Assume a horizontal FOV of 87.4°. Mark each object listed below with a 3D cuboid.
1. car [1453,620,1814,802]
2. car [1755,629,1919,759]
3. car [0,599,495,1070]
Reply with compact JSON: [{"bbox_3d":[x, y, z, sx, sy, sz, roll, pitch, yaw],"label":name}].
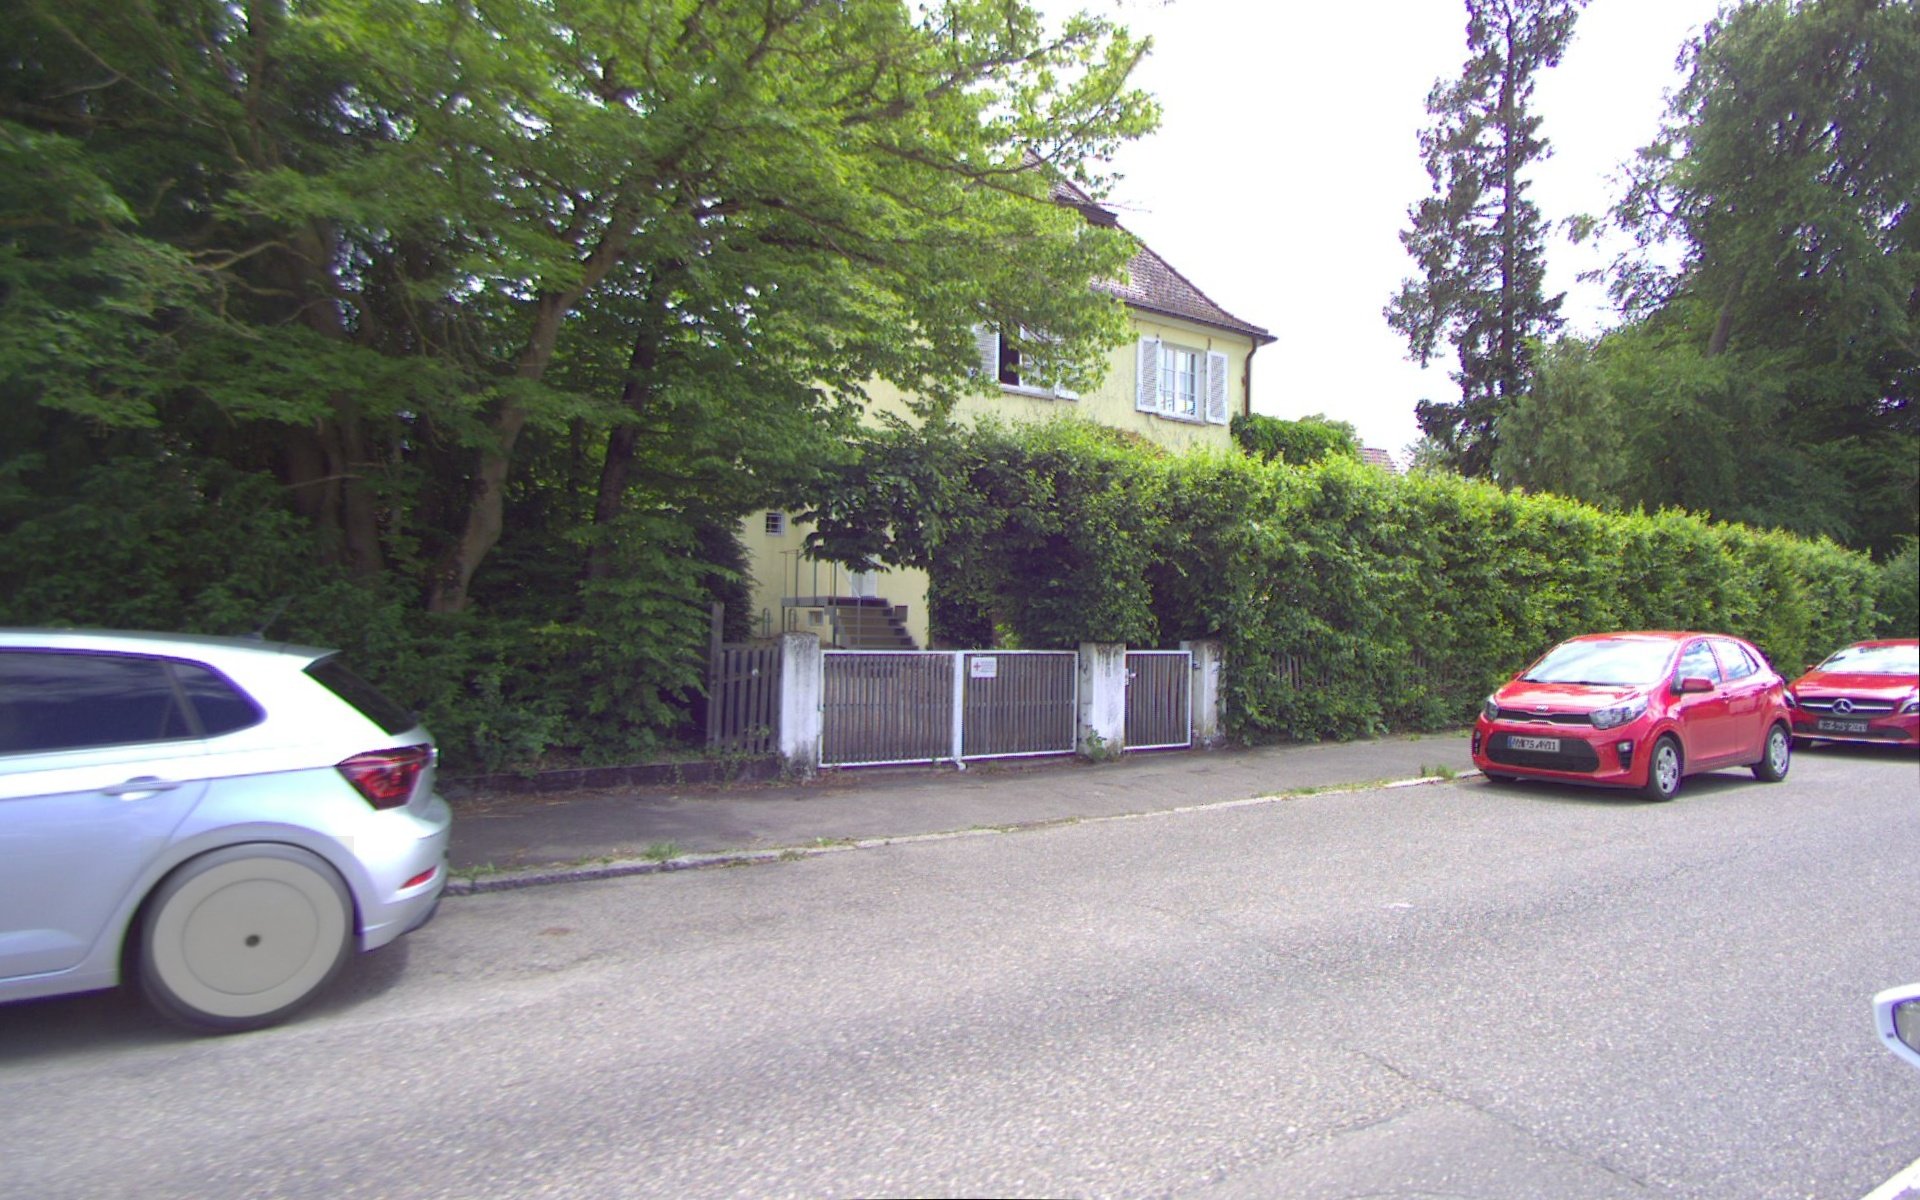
[{"bbox_3d":[6.714,0.984,9.981,3.472,1.524,1.582,1,-2,-29],"label":"car"},{"bbox_3d":[12.506,1.146,13.344,4.138,1.490,1.753,1,-2,-32],"label":"car"},{"bbox_3d":[-3.966,0.778,3.779,3.915,1.524,1.729,1,-2,-29],"label":"car"}]
